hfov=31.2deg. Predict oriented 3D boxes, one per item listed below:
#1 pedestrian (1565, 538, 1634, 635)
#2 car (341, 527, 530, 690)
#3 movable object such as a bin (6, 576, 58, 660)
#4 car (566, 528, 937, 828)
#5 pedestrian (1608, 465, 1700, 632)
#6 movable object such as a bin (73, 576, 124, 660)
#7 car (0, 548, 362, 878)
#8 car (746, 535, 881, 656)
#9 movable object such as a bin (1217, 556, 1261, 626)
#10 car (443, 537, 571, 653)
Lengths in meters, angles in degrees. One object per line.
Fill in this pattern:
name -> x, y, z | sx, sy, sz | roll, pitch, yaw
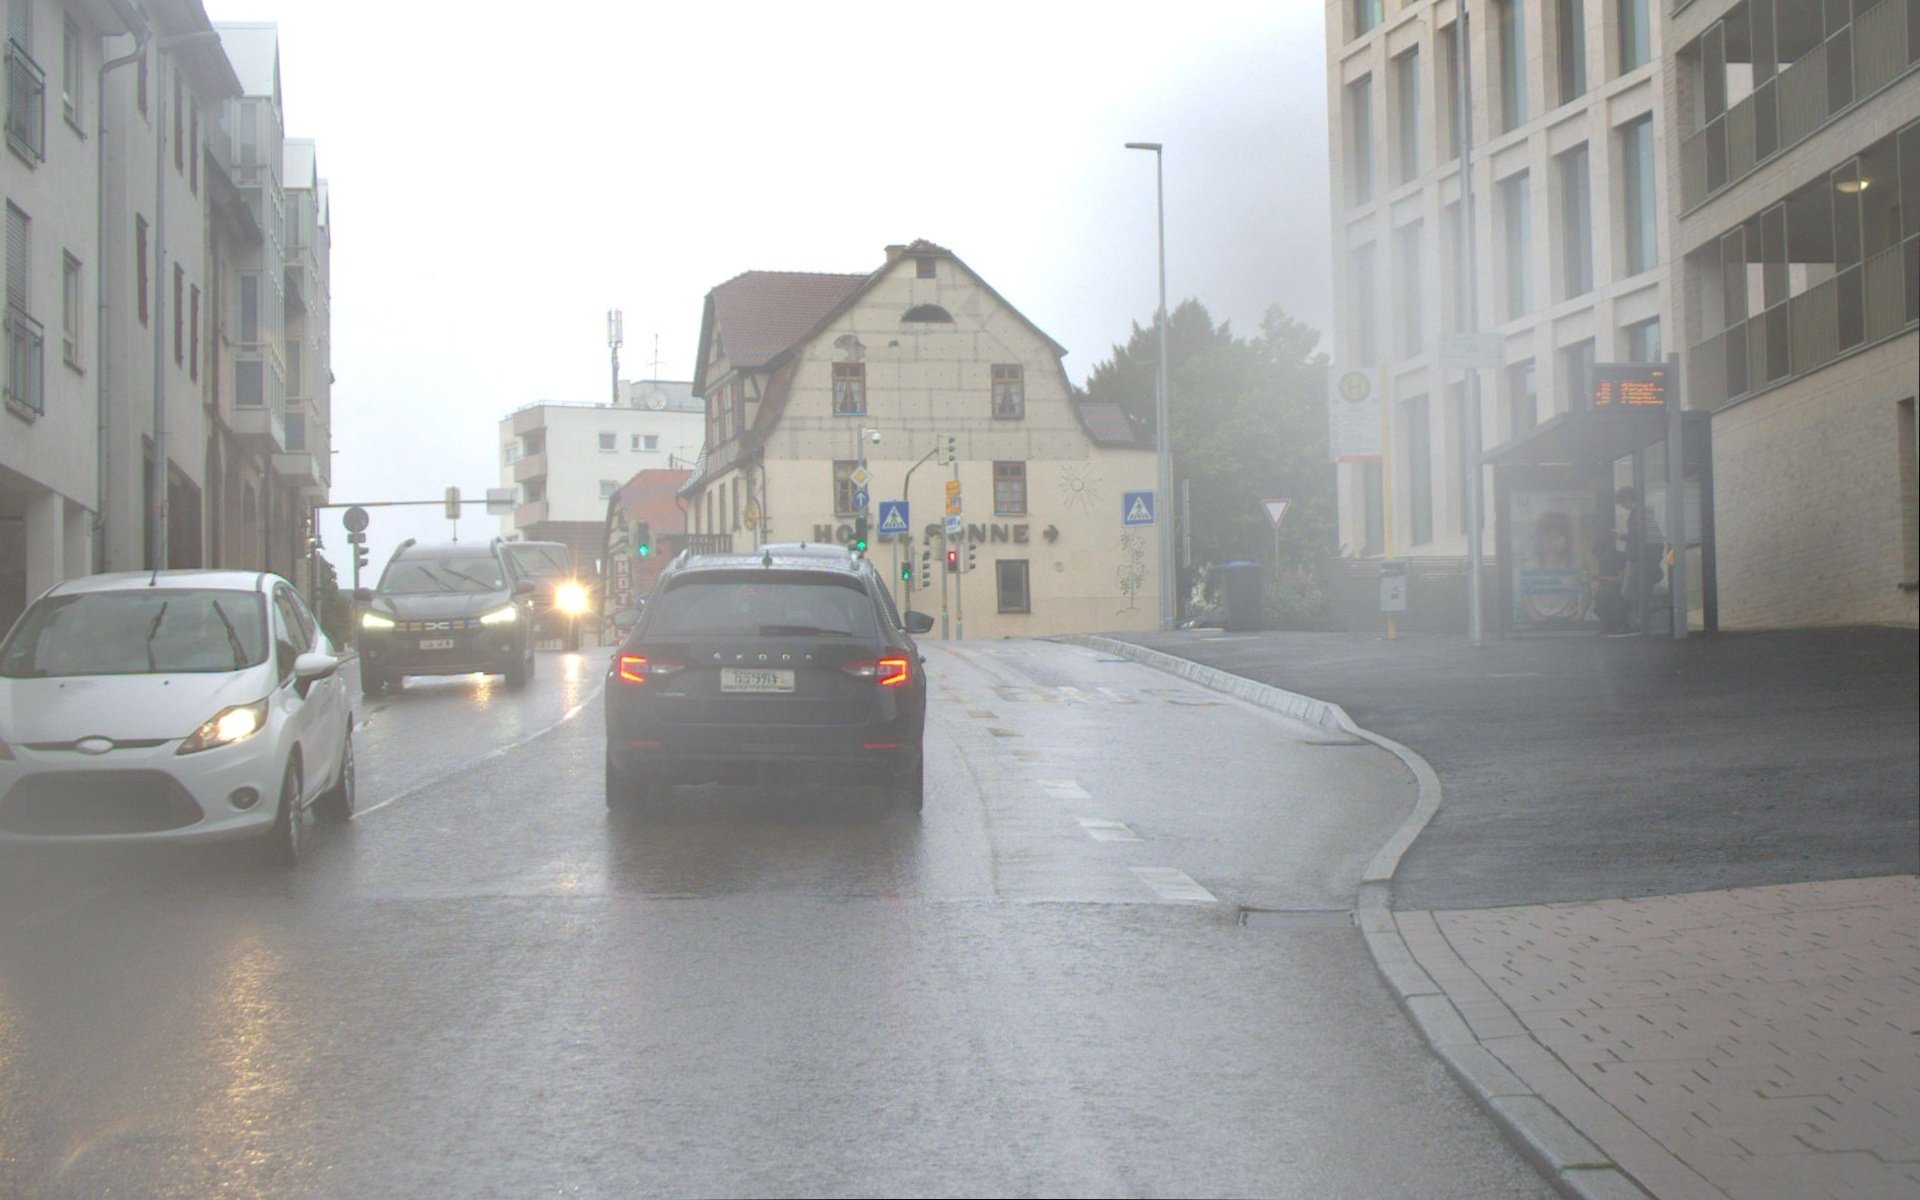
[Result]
pedestrian -> 7.847, -0.167, 42.220 | 0.672, 1.158, 0.635 | -3, 0, -1
car -> -5.798, 0.058, 38.424 | 1.782, 1.688, 4.460 | -1, 1, -5
movable object such as a bin -> -11.233, 0.217, 41.631 | 0.508, 1.003, 0.585 | -1, 1, -5
car -> -1.251, 0.381, 20.431 | 1.944, 1.561, 4.418 | -1, 1, -4
pedestrian -> 8.236, -0.611, 40.837 | 0.782, 1.933, 1.021 | -3, 0, -1
movable object such as a bin -> -10.507, 0.217, 41.936 | 0.508, 1.003, 0.585 | -1, 1, -5
car -> -4.151, 0.503, 17.723 | 1.677, 1.505, 3.589 | -1, 1, -3
car -> -1.965, -0.084, 45.357 | 1.677, 1.505, 3.589 | -1, 1, -4
movable object such as a bin -> 4.318, -0.144, 53.203 | 0.595, 1.058, 0.579 | -1, 1, -2
car -> -7.968, -0.117, 60.838 | 1.931, 1.901, 5.044 | -2, 1, -5
